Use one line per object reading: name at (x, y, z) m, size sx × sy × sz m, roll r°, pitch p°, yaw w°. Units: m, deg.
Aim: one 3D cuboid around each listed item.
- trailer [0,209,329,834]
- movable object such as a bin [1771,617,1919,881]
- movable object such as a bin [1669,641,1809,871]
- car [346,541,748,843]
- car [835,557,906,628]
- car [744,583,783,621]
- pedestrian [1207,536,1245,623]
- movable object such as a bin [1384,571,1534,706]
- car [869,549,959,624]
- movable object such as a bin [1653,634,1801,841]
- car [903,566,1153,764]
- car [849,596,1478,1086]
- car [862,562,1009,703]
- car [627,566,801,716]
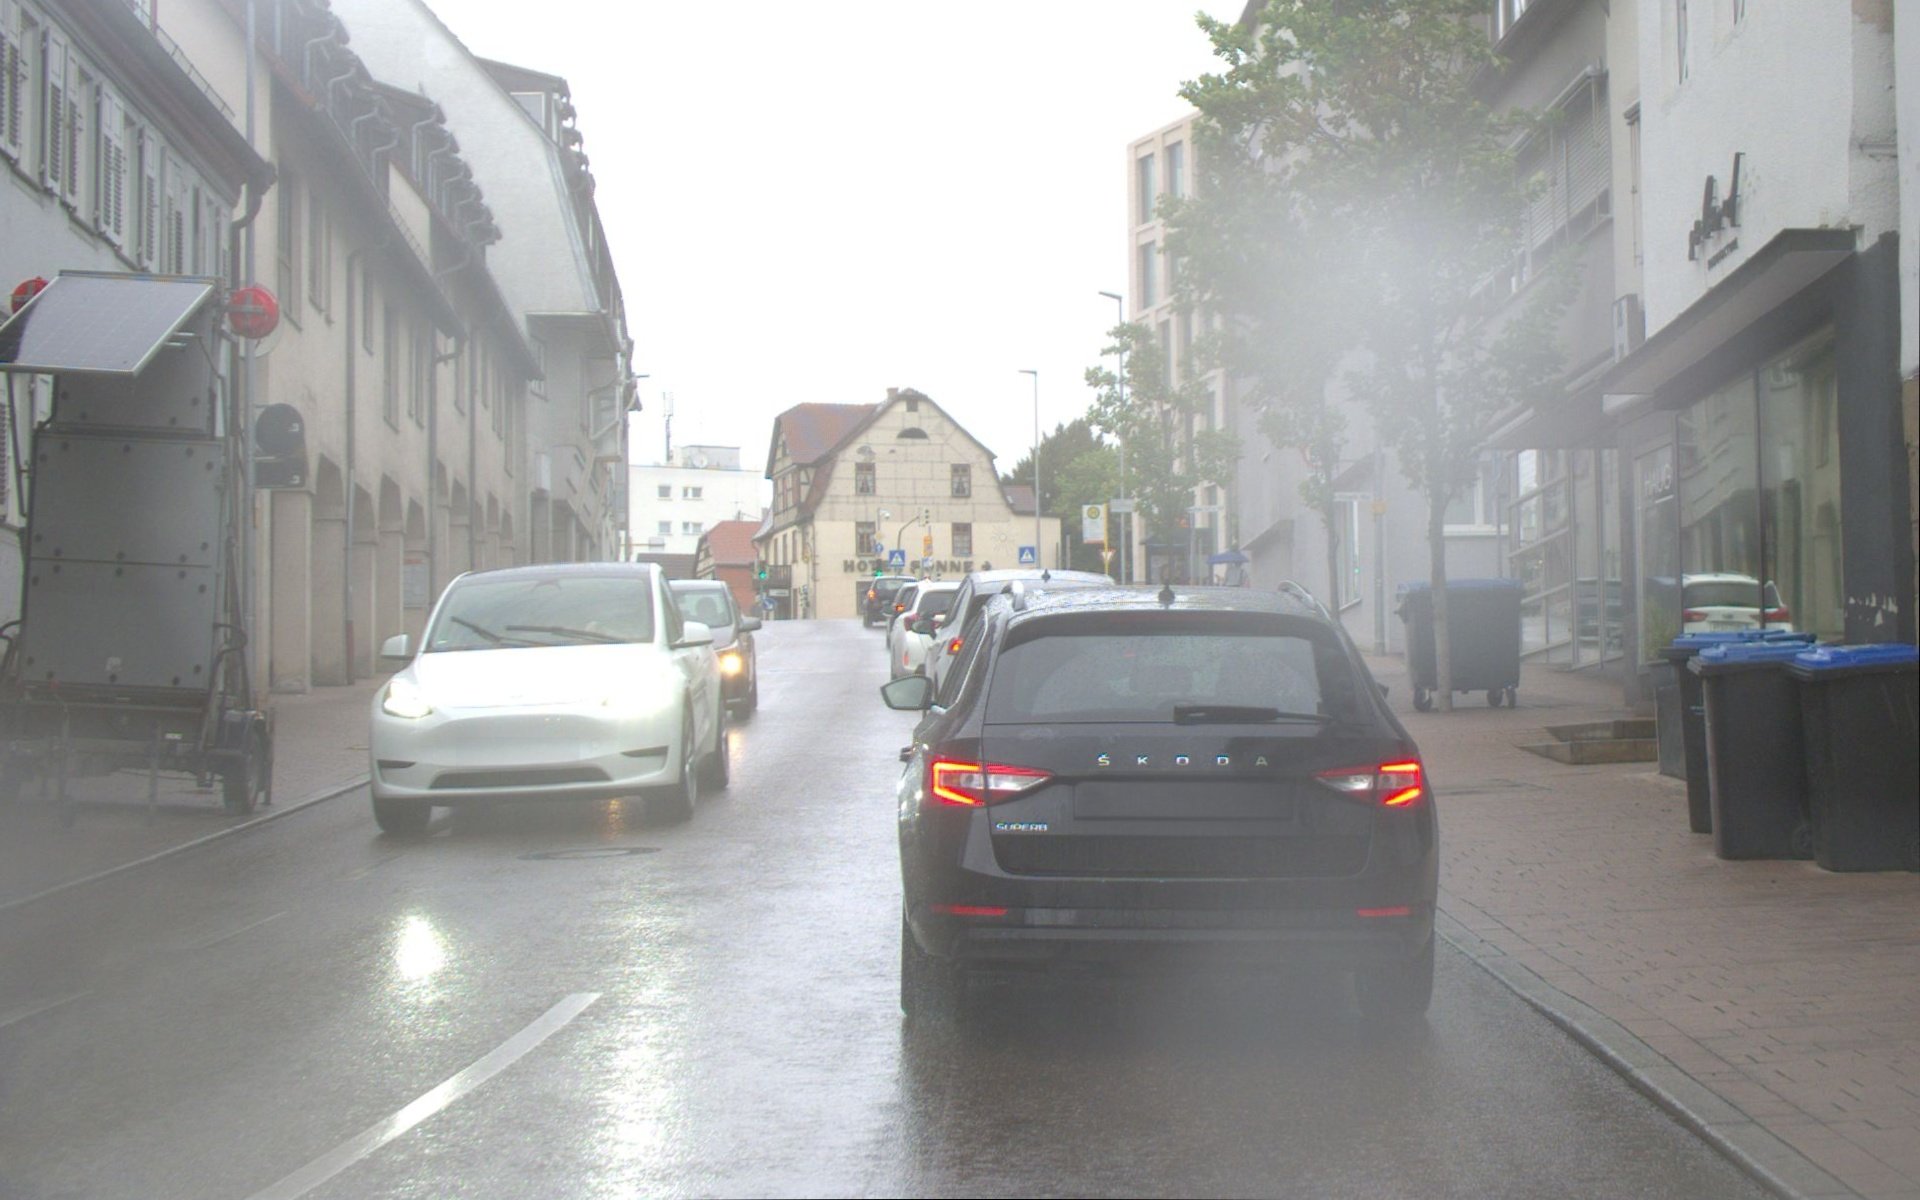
trailer at (-5.429, -0.436, 21.710) m, size 1.993 × 3.522 × 4.575 m, roll 1°, pitch 0°, yaw 0°
movable object such as a bin at (4.275, 0.702, 16.430) m, size 0.624 × 1.201 × 0.605 m, roll 0°, pitch 3°, yaw -3°
movable object such as a bin at (3.863, 0.763, 17.077) m, size 0.567 × 1.105 × 0.676 m, roll 0°, pitch 0°, yaw 3°
car at (-2.554, 0.528, 22.295) m, size 1.873 × 1.656 × 4.308 m, roll -3°, pitch 0°, yaw 2°
car at (-2.569, -0.227, 99.275) m, size 1.993 × 2.007 × 4.000 m, roll 0°, pitch 0°, yaw -1°
car at (-8.396, 0.076, 147.178) m, size 1.627 × 1.525 × 4.001 m, roll 1°, pitch 1°, yaw -3°
pedestrian at (5.310, -0.405, 68.570) m, size 0.705 × 1.719 × 0.832 m, roll 1°, pitch 0°, yaw 2°
movable object such as a bin at (5.075, 0.384, 35.074) m, size 1.286 × 1.345 × 1.487 m, roll 0°, pitch 0°, yaw -1°
car at (-0.997, -0.296, 73.142) m, size 1.703 × 1.547 × 3.607 m, roll 1°, pitch 1°, yaw -4°
movable object such as a bin at (4.043, 0.717, 18.142) m, size 0.659 × 1.059 × 0.614 m, roll 0°, pitch 0°, yaw 2°
car at (0.595, 0.471, 27.549) m, size 1.856 × 1.468 × 4.000 m, roll 0°, pitch 0°, yaw 3°
car at (0.707, 0.719, 12.508) m, size 1.887 × 1.443 × 4.356 m, roll 0°, pitch 0°, yaw 3°
car at (-0.353, 0.447, 43.225) m, size 1.627 × 1.525 × 3.999 m, roll 0°, pitch -4°, yaw -3°
car at (-2.635, 0.407, 37.489) m, size 1.773 × 1.528 × 3.711 m, roll 1°, pitch 1°, yaw -3°
